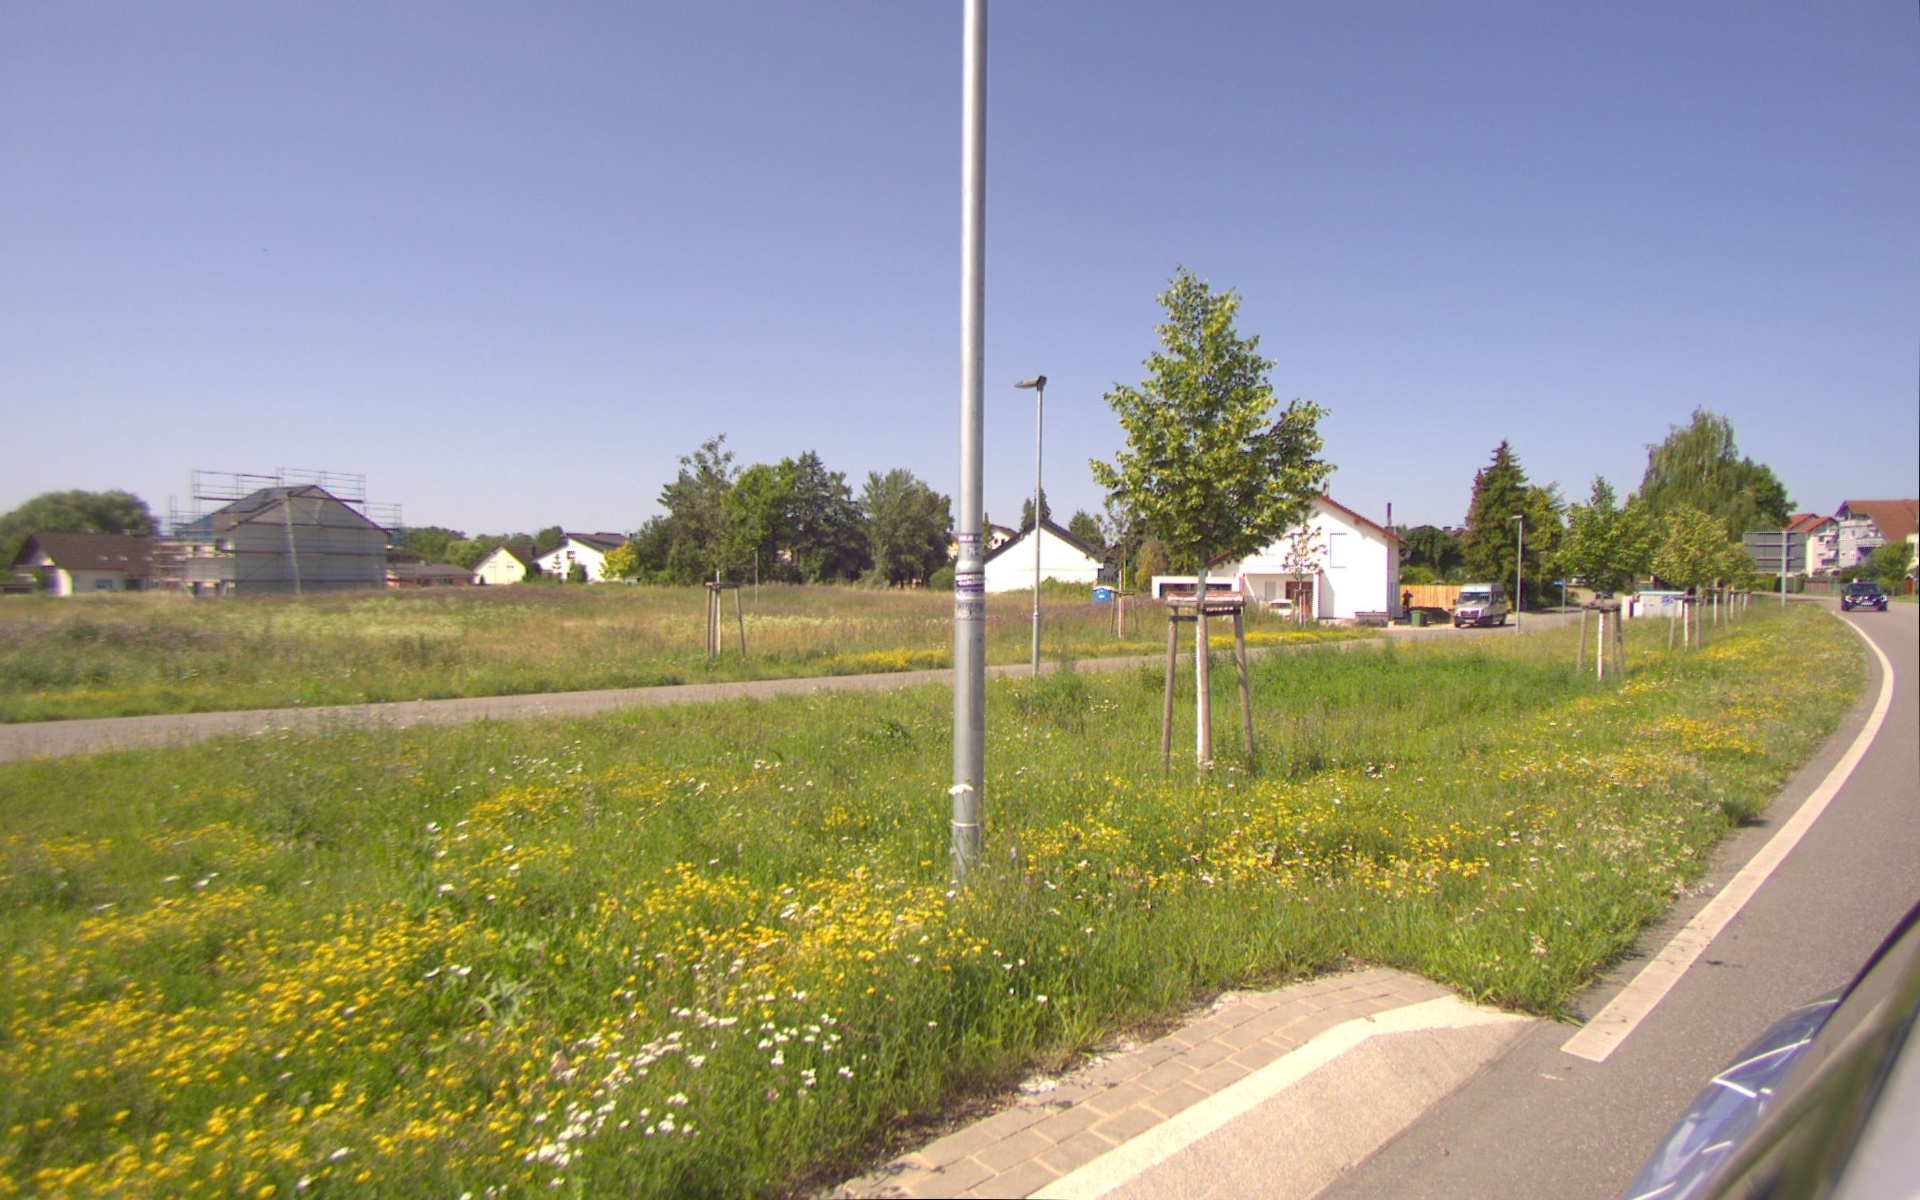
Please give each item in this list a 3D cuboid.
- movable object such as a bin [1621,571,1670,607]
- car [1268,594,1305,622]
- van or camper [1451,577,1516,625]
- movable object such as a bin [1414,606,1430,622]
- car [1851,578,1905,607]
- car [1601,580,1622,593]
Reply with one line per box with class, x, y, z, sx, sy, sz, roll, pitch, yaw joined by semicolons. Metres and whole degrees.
movable object such as a bin;50.473;-0.824;74.424;2.313;2.494;6.847;-1;1;40
car;19.801;0.455;61.344;1.547;1.577;4.449;-2;0;25
van or camper;31.201;-0.009;60.217;2.169;2.633;5.944;0;1;40
movable object such as a bin;27.210;0.811;59.655;0.692;0.949;0.628;0;0;45
car;52.332;-0.444;57.770;1.924;1.581;3.946;1;1;37
car;79.171;-1.628;122.896;1.853;1.463;4.115;-2;0;36
